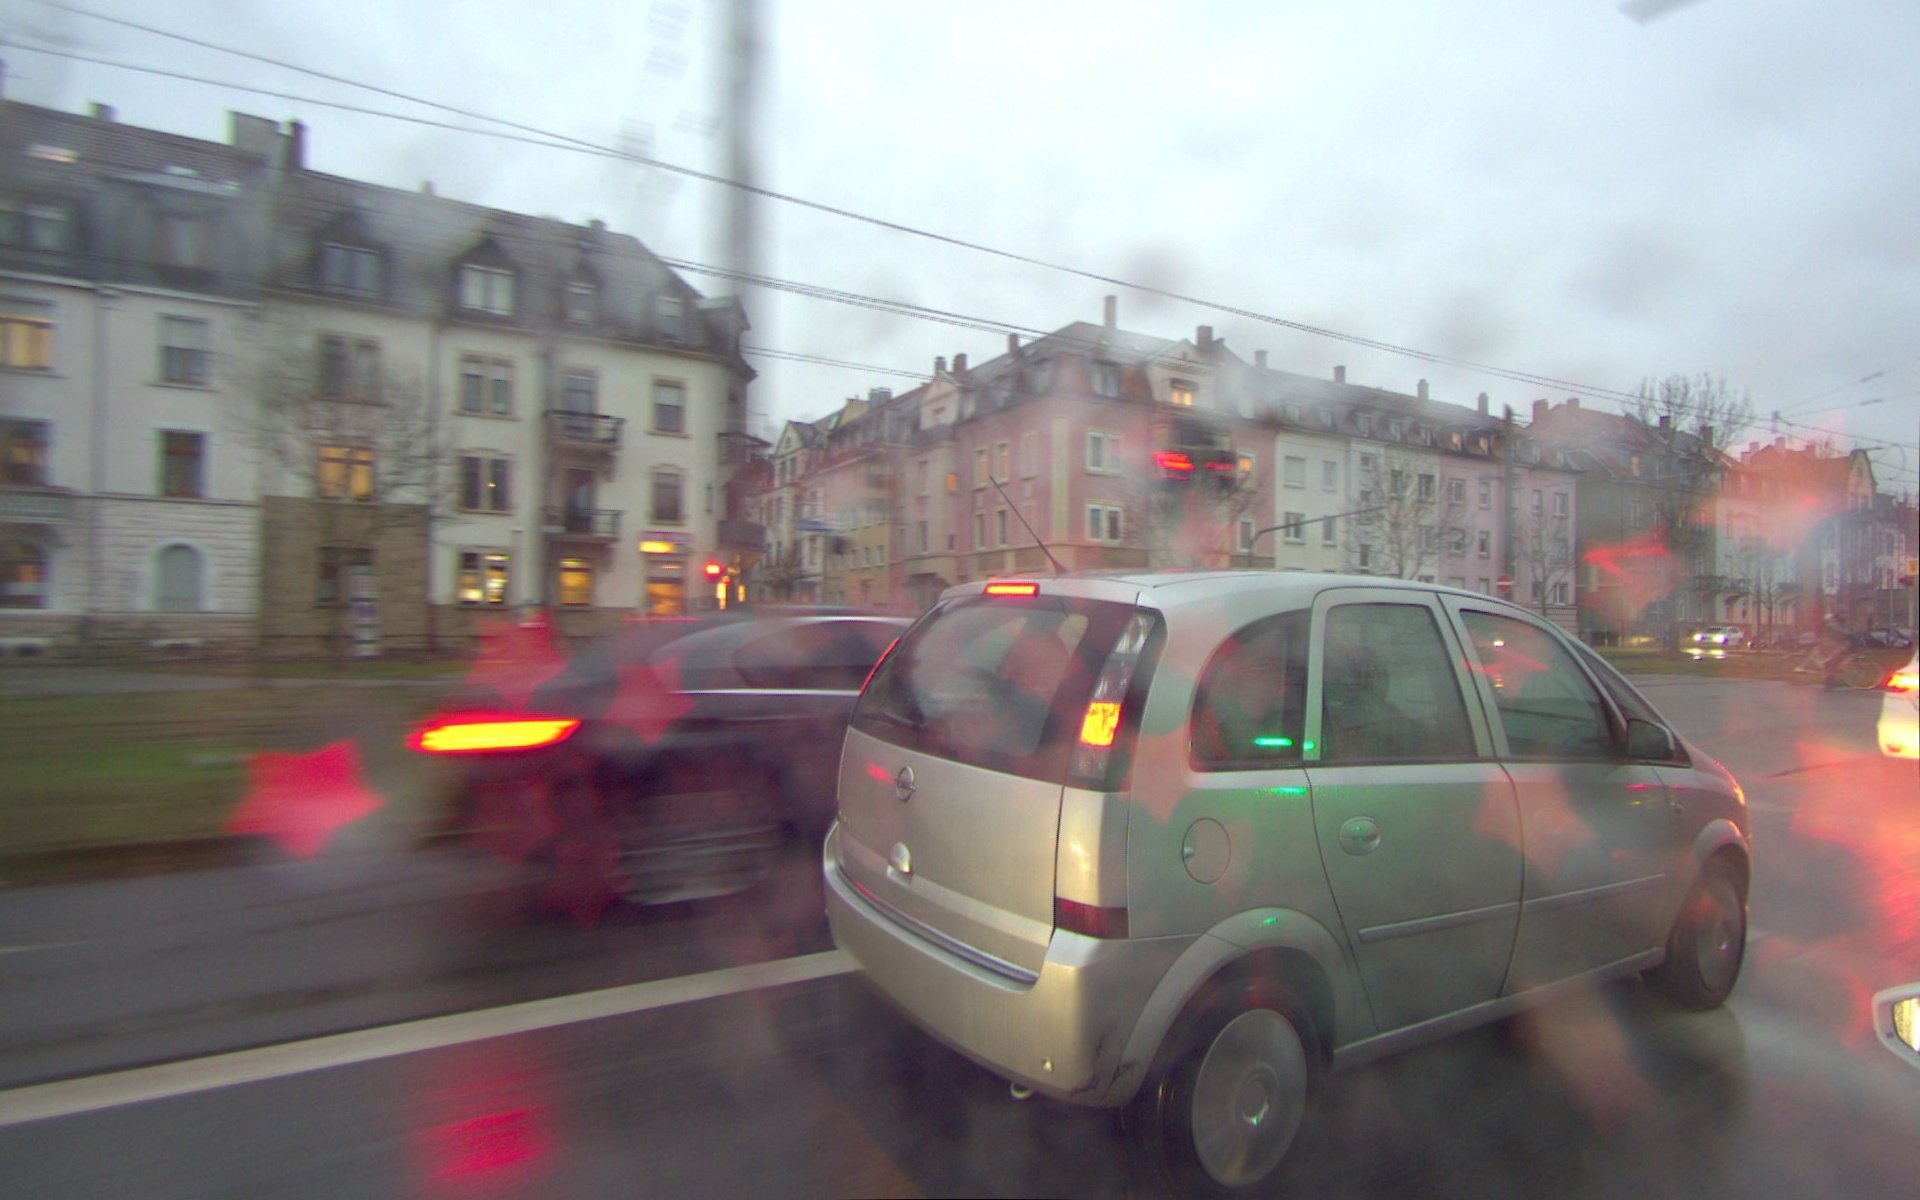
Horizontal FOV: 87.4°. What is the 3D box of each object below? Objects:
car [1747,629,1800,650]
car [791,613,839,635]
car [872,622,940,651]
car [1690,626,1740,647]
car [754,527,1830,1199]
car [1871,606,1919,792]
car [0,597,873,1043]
[{"bbox_3d":[56.234,2.720,69.448,3.515,1.372,1.767,1,-2,-31],"label":"car"},{"bbox_3d":[-10.038,1.637,69.164,1.976,1.439,3.969,1,-1,-30],"label":"car"},{"bbox_3d":[-2.982,1.971,54.665,1.980,1.439,3.962,1,-1,-34],"label":"car"},{"bbox_3d":[56.044,2.667,74.515,3.515,1.520,1.767,1,-2,-31],"label":"car"},{"bbox_3d":[1.438,0.703,3.887,4.008,1.621,1.800,1,0,-32],"label":"car"},{"bbox_3d":[10.327,0.915,9.483,4.012,1.621,1.661,1,0,-34],"label":"car"},{"bbox_3d":[-2.926,0.738,4.474,4.772,1.449,1.799,1,0,-32],"label":"car"}]
